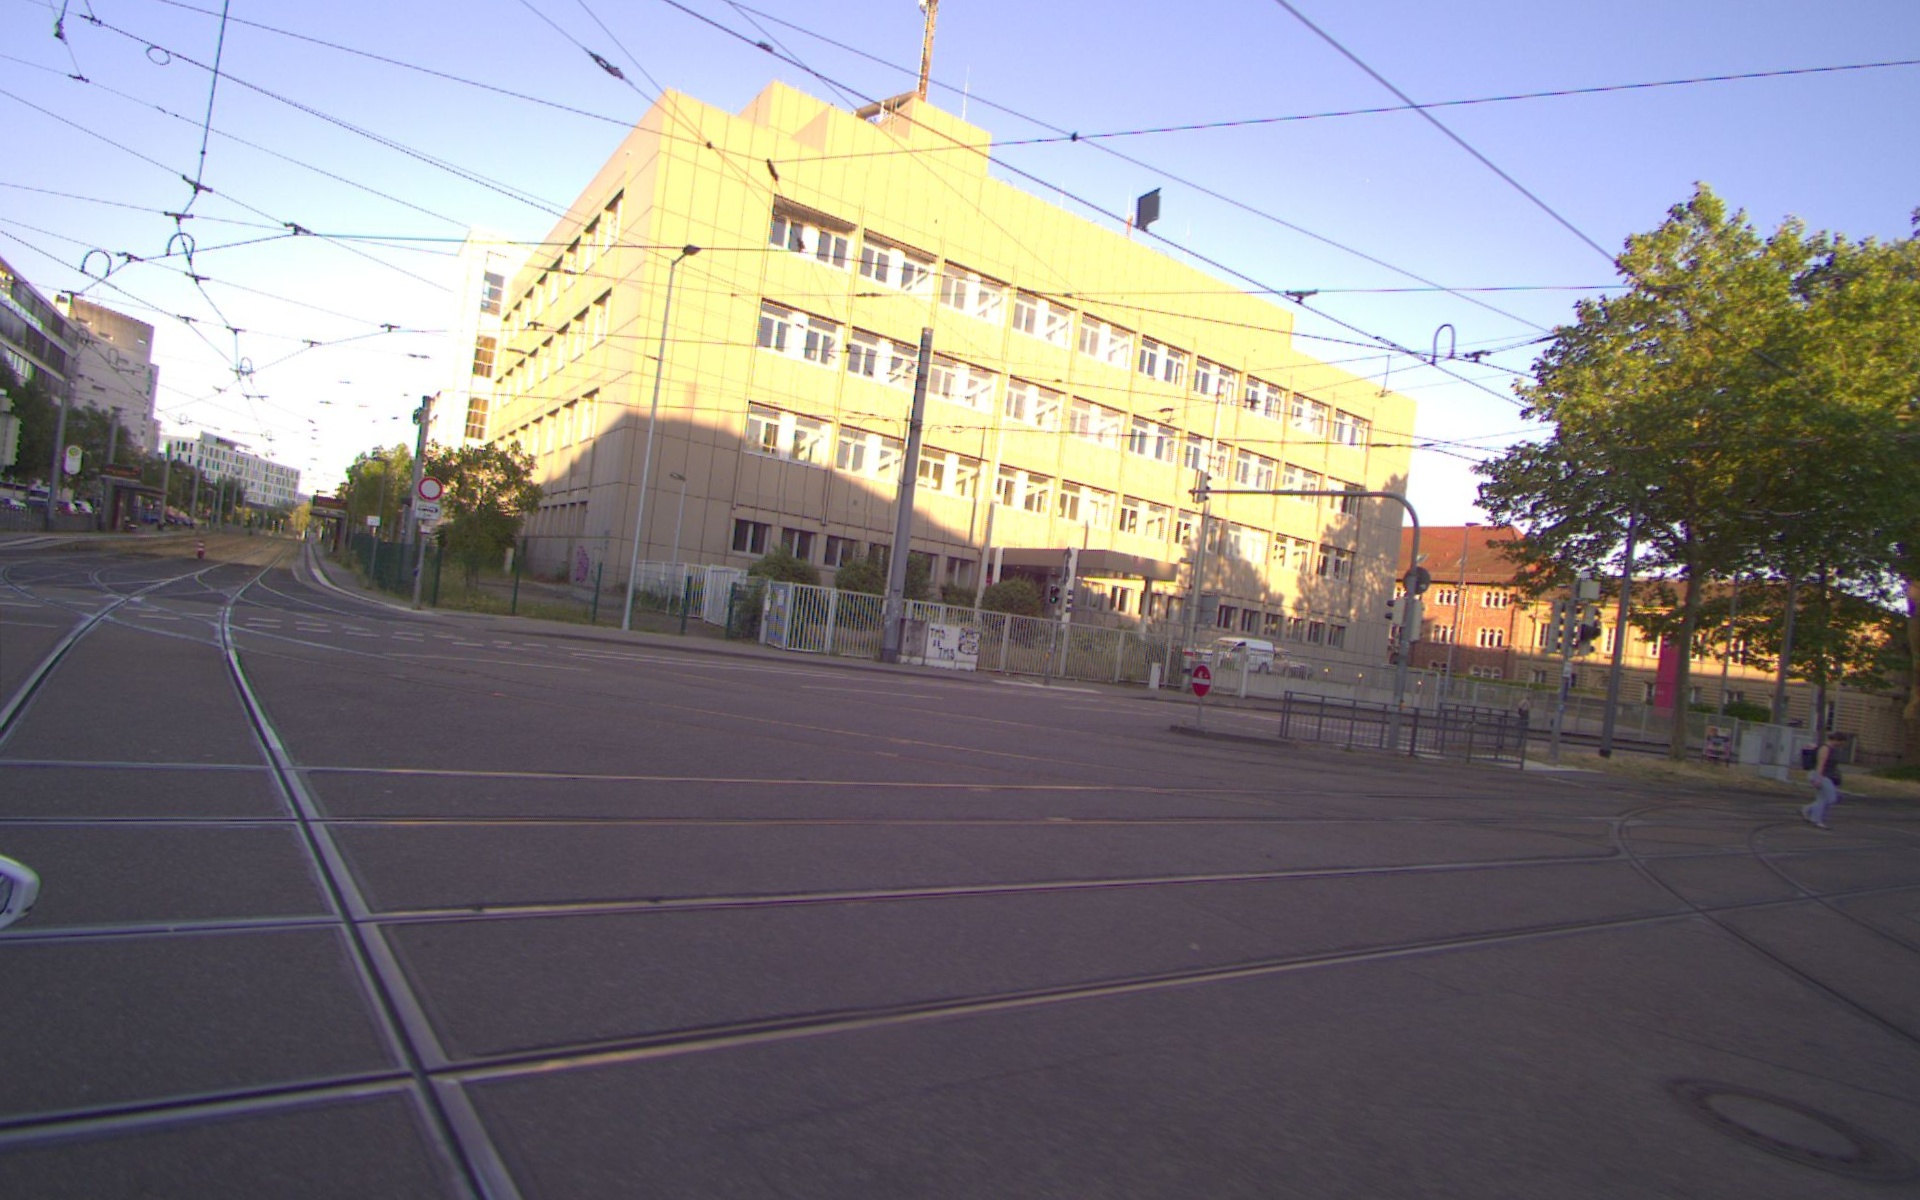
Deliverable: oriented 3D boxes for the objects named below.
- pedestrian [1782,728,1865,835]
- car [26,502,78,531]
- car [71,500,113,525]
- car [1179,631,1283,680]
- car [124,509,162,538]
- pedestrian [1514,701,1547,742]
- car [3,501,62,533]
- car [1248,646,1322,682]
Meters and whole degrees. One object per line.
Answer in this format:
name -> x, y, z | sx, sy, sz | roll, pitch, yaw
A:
pedestrian -> 14.711, 3.077, 17.138 | 0.750, 1.635, 0.821 | 8, -1, -38
car -> -57.067, -5.232, 63.275 | 1.673, 1.456, 4.089 | 8, -1, -34
car -> -63.220, -6.325, 73.337 | 1.673, 1.456, 4.089 | 8, -1, -34
car -> 13.965, 2.872, 51.748 | 5.046, 1.896, 2.255 | 8, -1, -33
car -> -67.794, -6.302, 83.542 | 1.983, 2.037, 3.962 | 8, -1, -35
pedestrian -> 25.886, 5.501, 45.683 | 0.868, 1.698, 1.063 | 7, 0, 14
car -> -52.316, -4.657, 56.802 | 1.673, 1.456, 4.089 | 8, -1, -34
car -> 19.683, 3.850, 61.055 | 1.815, 1.633, 3.969 | 9, -2, -30
